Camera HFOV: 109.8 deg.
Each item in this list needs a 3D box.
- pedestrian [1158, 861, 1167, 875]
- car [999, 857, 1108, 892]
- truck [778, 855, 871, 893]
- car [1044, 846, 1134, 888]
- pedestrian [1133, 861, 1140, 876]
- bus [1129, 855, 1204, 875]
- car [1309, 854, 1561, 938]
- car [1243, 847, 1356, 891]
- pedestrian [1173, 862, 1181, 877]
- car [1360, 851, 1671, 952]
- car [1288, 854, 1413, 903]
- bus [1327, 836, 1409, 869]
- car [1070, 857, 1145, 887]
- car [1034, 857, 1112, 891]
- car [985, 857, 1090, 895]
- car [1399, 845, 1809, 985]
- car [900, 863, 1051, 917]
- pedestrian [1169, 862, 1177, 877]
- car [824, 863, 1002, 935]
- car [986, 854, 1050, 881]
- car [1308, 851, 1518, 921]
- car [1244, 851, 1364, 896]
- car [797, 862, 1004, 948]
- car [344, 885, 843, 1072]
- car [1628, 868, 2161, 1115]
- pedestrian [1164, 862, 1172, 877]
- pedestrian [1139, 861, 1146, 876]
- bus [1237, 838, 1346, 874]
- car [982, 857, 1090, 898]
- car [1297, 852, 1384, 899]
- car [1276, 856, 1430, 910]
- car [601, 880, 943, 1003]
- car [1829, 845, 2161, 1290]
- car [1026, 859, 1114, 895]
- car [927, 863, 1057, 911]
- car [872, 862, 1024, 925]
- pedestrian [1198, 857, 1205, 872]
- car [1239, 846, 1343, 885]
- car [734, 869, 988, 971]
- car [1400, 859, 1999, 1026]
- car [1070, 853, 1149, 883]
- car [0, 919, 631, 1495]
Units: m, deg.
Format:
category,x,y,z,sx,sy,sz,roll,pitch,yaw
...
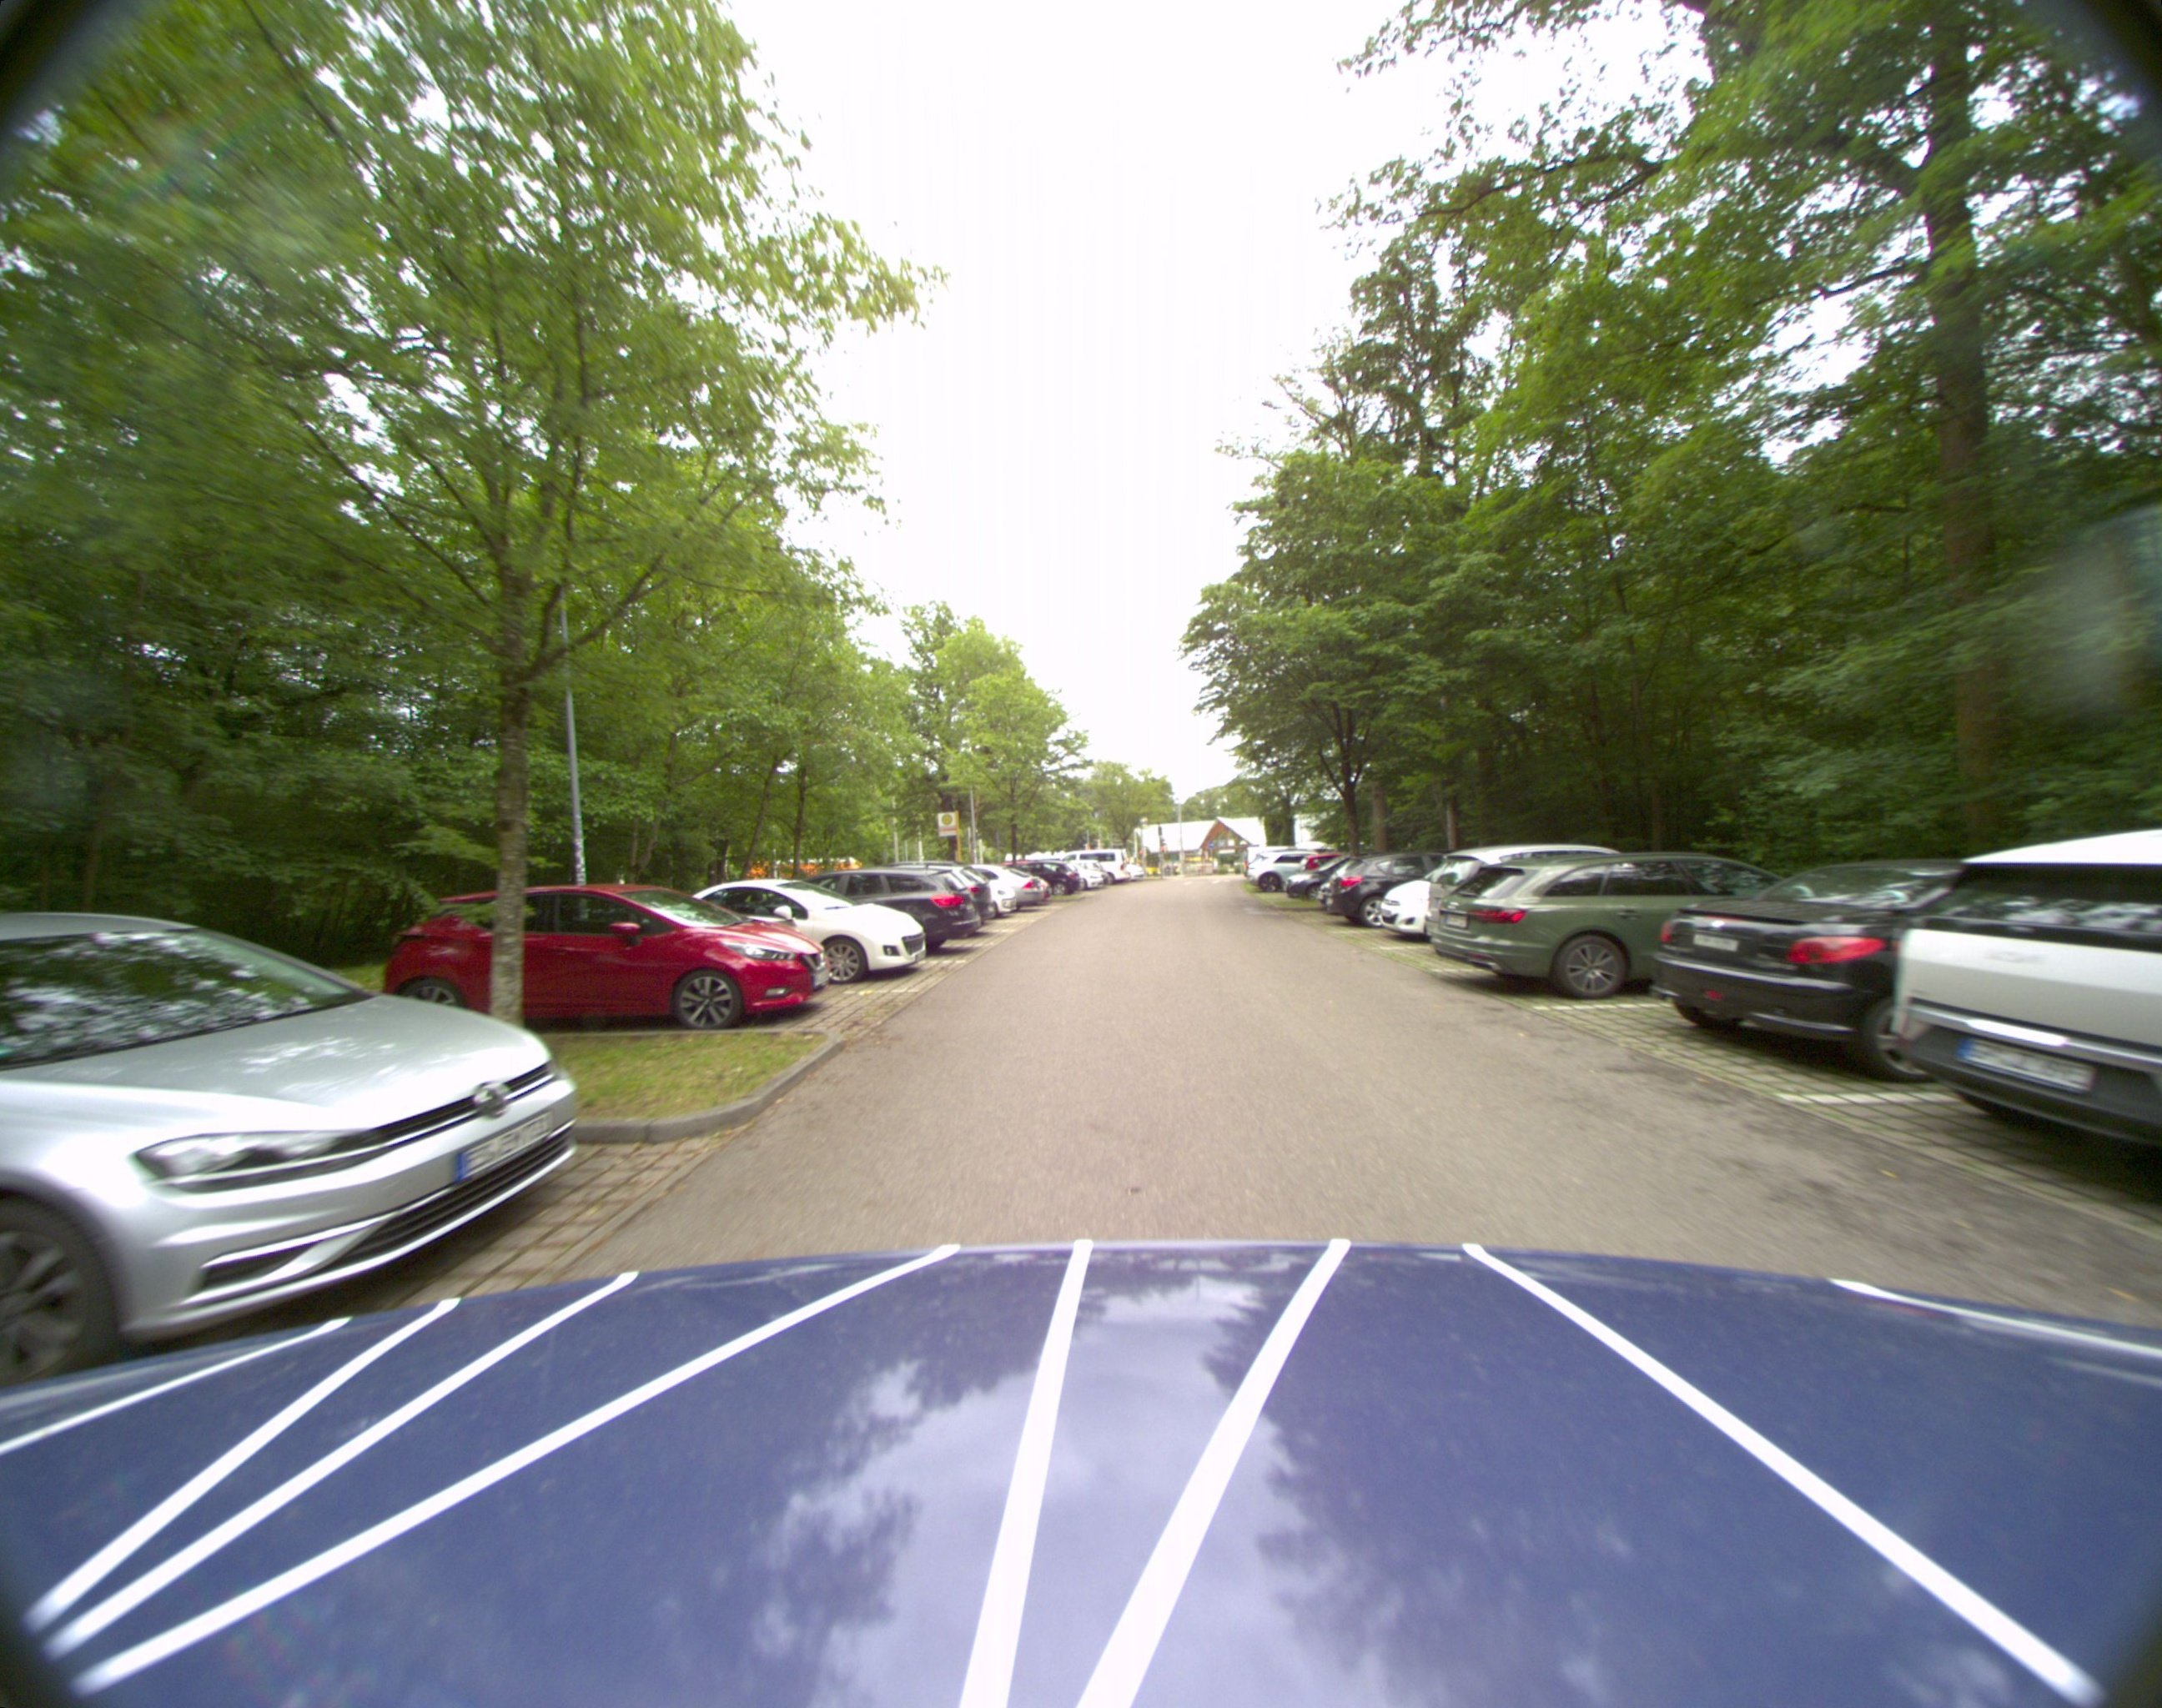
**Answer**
category,x,y,z,sx,sy,sz,roll,pitch,yaw
pedestrian,10.079,1.737,94.119,0.732,1.746,0.738,-4,-3,28
car,-1.259,0.970,35.952,4.779,1.467,1.855,-2,-1,13
truck,-25.352,1.979,75.341,8.236,3.493,2.871,-2,-1,8
car,0.488,0.762,43.200,4.656,2.008,2.086,-4,-2,14
pedestrian,6.489,1.716,88.908,0.736,1.746,0.669,-3,-2,2
bus,16.662,1.999,145.584,3.969,3.461,18.617,-6,-4,42
car,7.081,0.825,15.636,4.241,1.521,2.007,-2,0,6
car,9.278,0.630,32.642,4.432,1.684,2.173,-2,-1,12
pedestrian,11.818,1.906,93.602,0.600,1.746,0.667,-2,-2,-21
car,7.198,0.762,12.927,4.243,1.524,1.763,-1,0,2
car,8.741,0.796,24.929,3.613,1.465,1.675,-2,0,10
bus,29.448,-0.148,78.053,7.763,3.139,2.809,-1,-2,-19
car,1.606,1.081,45.587,4.002,1.546,1.950,-4,-1,20
car,-0.393,1.078,40.561,3.729,1.545,1.848,-4,-3,12
car,-1.871,0.964,33.317,4.236,1.472,1.920,-2,0,10
car,6.908,0.764,10.440,4.243,1.637,1.970,-1,0,1
car,-3.139,1.069,23.085,4.134,1.453,1.866,-2,1,8
pedestrian,11.279,1.901,93.303,0.600,1.746,0.667,-2,-2,-21
car,-4.016,1.070,18.551,3.851,1.537,1.731,-2,0,4
car,-4.950,1.074,59.537,4.568,1.739,2.004,-5,-3,26
car,7.805,0.743,18.196,4.242,1.465,1.721,-2,1,6
car,8.740,0.757,30.181,4.362,1.588,2.032,-2,0,10
car,-3.713,1.035,16.108,3.776,1.580,1.950,-2,-1,5
car,-4.607,1.129,7.757,3.806,1.432,1.870,-2,-1,-6
car,6.380,0.832,5.328,3.799,1.348,1.729,-1,0,2
pedestrian,10.730,1.927,93.739,0.669,1.746,0.561,-2,-3,-35
pedestrian,7.231,1.678,89.055,0.736,1.746,0.669,-3,-2,1
bus,20.785,0.203,75.055,10.527,3.139,2.809,-1,-2,-19
car,-1.774,0.936,30.691,3.994,1.474,1.923,-2,0,10
car,9.268,0.755,27.306,2.665,1.532,1.446,-2,0,6
car,7.964,0.849,22.522,3.995,1.482,1.708,-1,0,6
car,-4.127,1.152,10.615,3.941,1.402,1.879,-2,-1,3
car,6.007,0.751,2.962,3.967,1.618,2.000,-1,0,10
car,-0.533,1.159,38.218,3.994,1.475,1.878,-4,1,12
car,-2.957,1.093,25.757,3.995,1.441,1.942,-2,0,6
car,-3.562,1.059,20.735,3.709,1.502,1.752,-2,1,6
pedestrian,14.449,1.312,90.971,0.655,1.746,0.669,-3,-2,3
car,10.924,0.590,39.703,5.093,1.904,1.980,-2,0,15
car,-3.626,1.078,13.039,3.777,1.472,1.774,-2,-1,1
car,6.205,0.849,8.177,4.650,1.469,2.095,-1,0,3
car,1.818,0.891,48.155,4.525,1.683,2.168,-2,0,19
car,-4.403,1.147,3.066,3.987,1.475,1.884,-2,-1,-2
